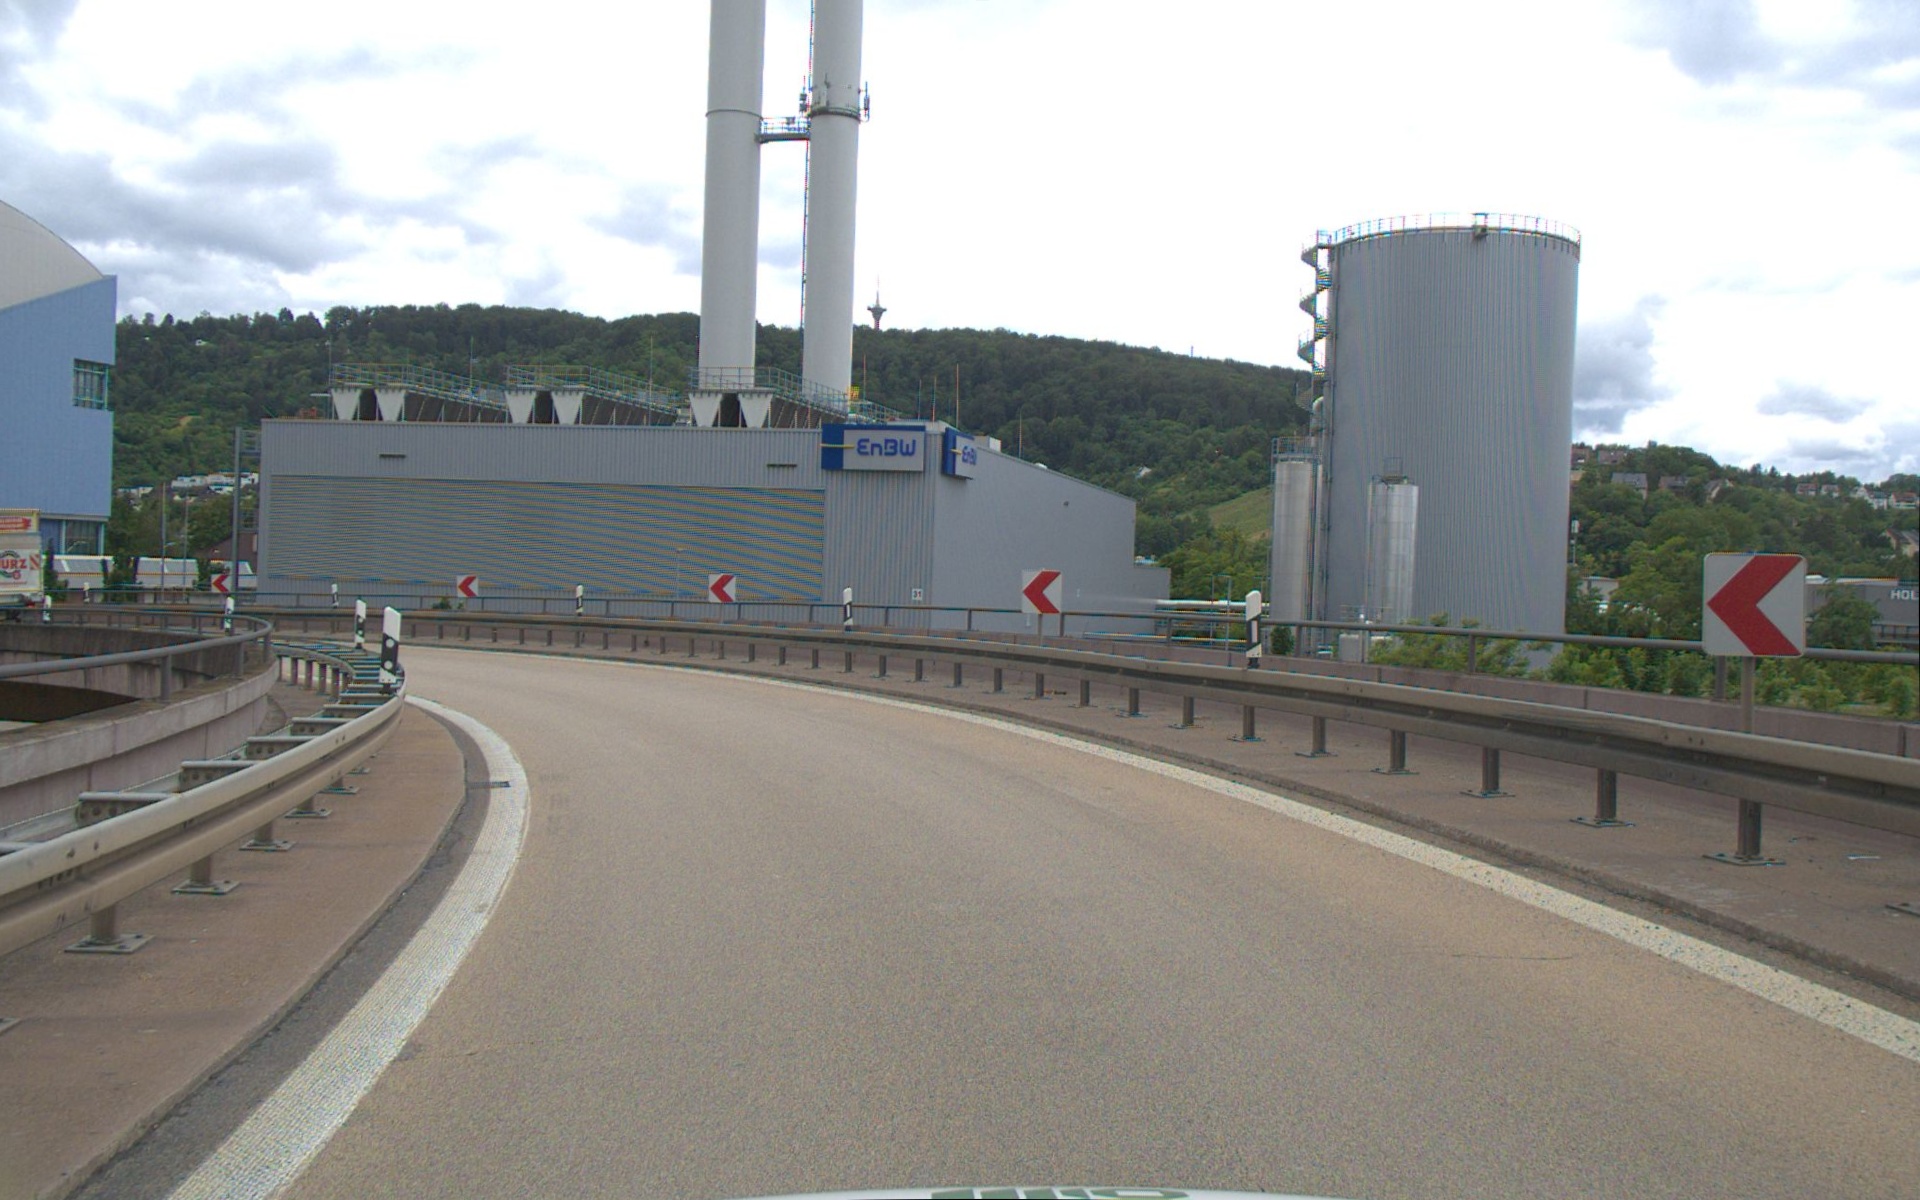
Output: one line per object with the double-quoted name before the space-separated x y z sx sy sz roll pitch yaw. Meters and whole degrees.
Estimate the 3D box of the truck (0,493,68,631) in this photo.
"truck" -29.170 -1.099 46.605 7.744 3.737 3.059 1 0 25
